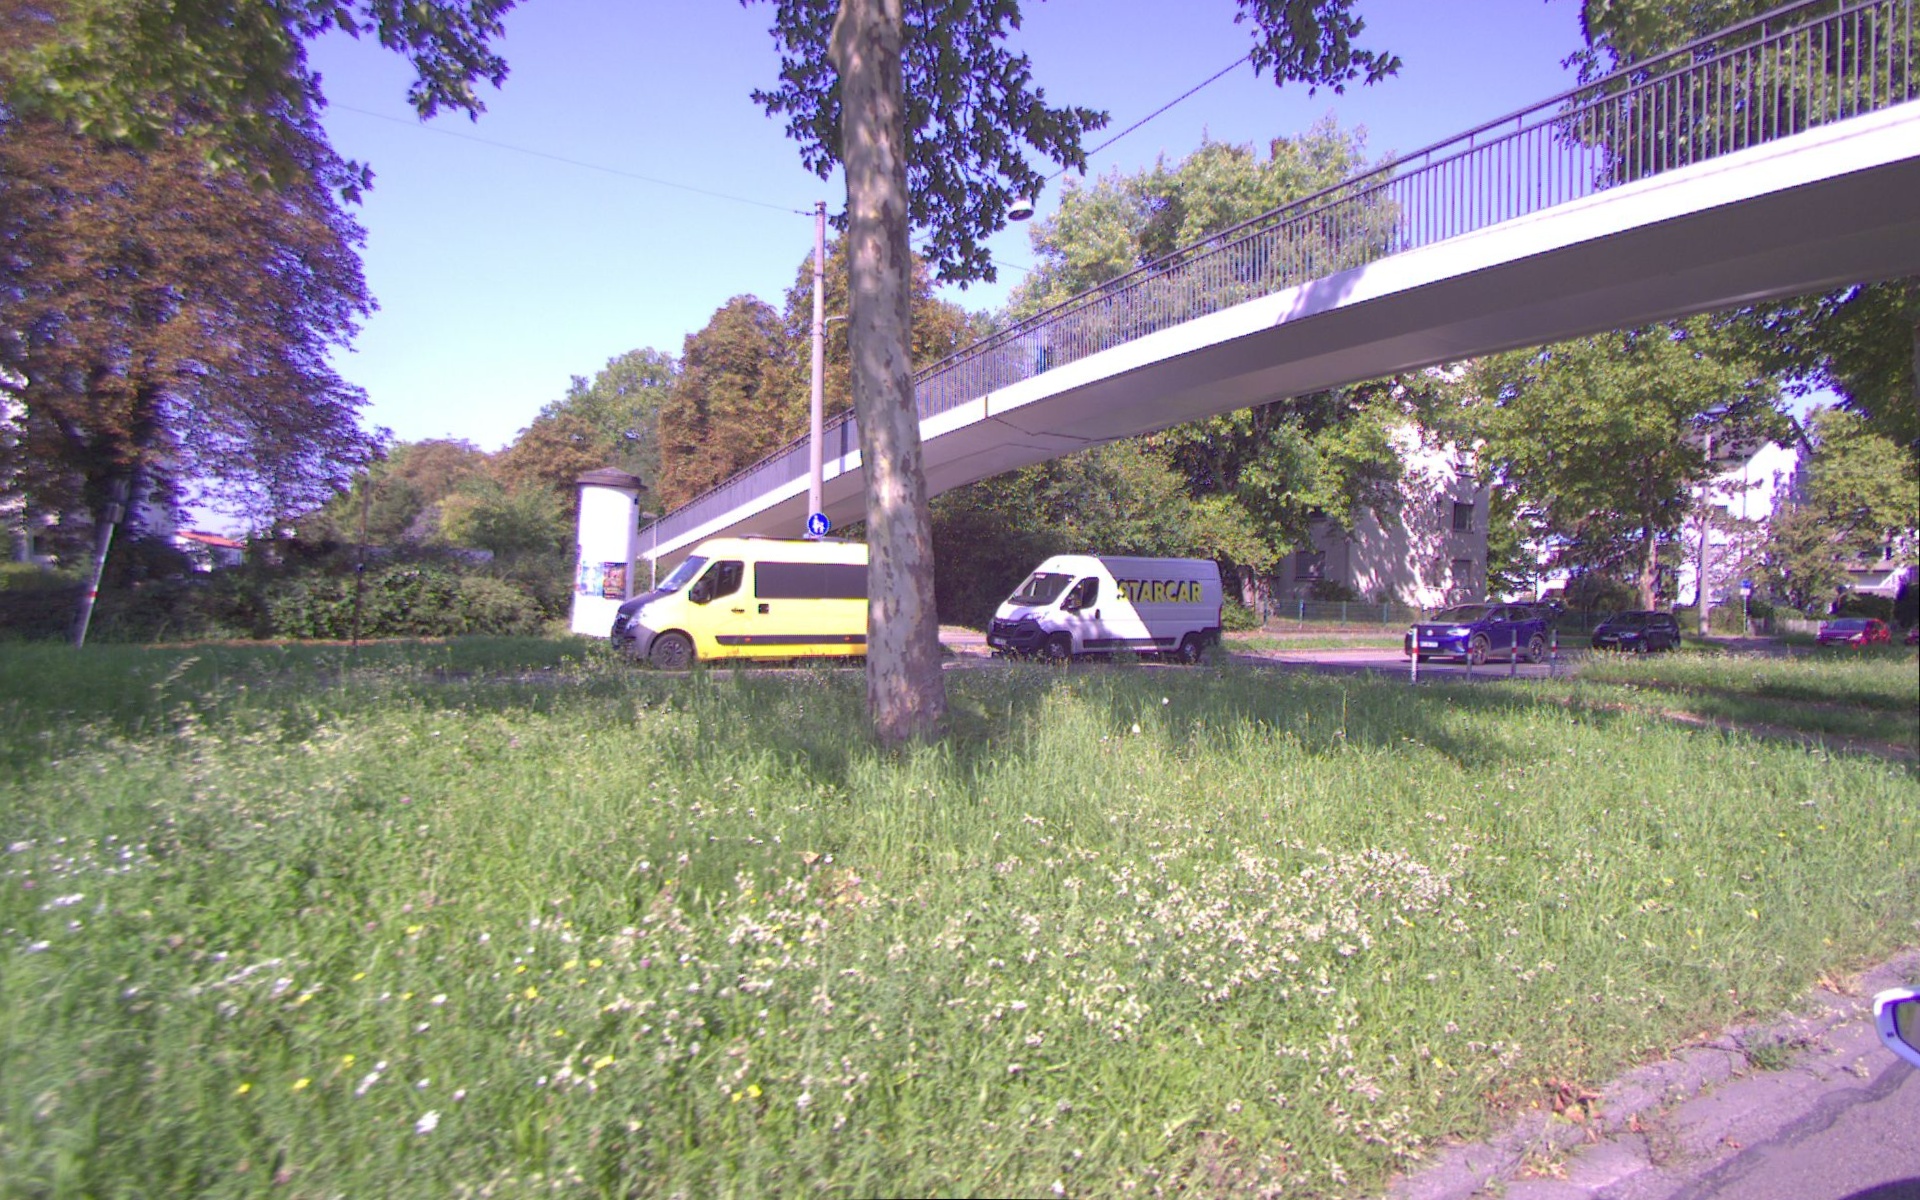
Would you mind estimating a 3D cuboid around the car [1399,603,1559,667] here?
[{"bbox_3d":[14.013,0.944,27.085,4.405,1.553,1.778,2,1,-31],"label":"car"}]

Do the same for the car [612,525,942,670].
[{"bbox_3d":[-3.540,0.020,19.828,5.987,2.512,2.198,2,1,-29],"label":"car"}]

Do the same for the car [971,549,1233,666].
[{"bbox_3d":[3.499,0.193,24.082,6.197,2.463,2.195,2,3,-33],"label":"car"}]

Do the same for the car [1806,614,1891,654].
[{"bbox_3d":[37.198,1.403,42.039,4.027,1.553,1.680,1,0,-34],"label":"car"}]

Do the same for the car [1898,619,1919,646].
[{"bbox_3d":[55.167,1.902,57.208,4.020,1.471,1.530,2,1,-33],"label":"car"}]

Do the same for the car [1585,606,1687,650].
[{"bbox_3d":[25.273,1.043,37.558,3.814,1.553,1.516,1,0,-28],"label":"car"}]
